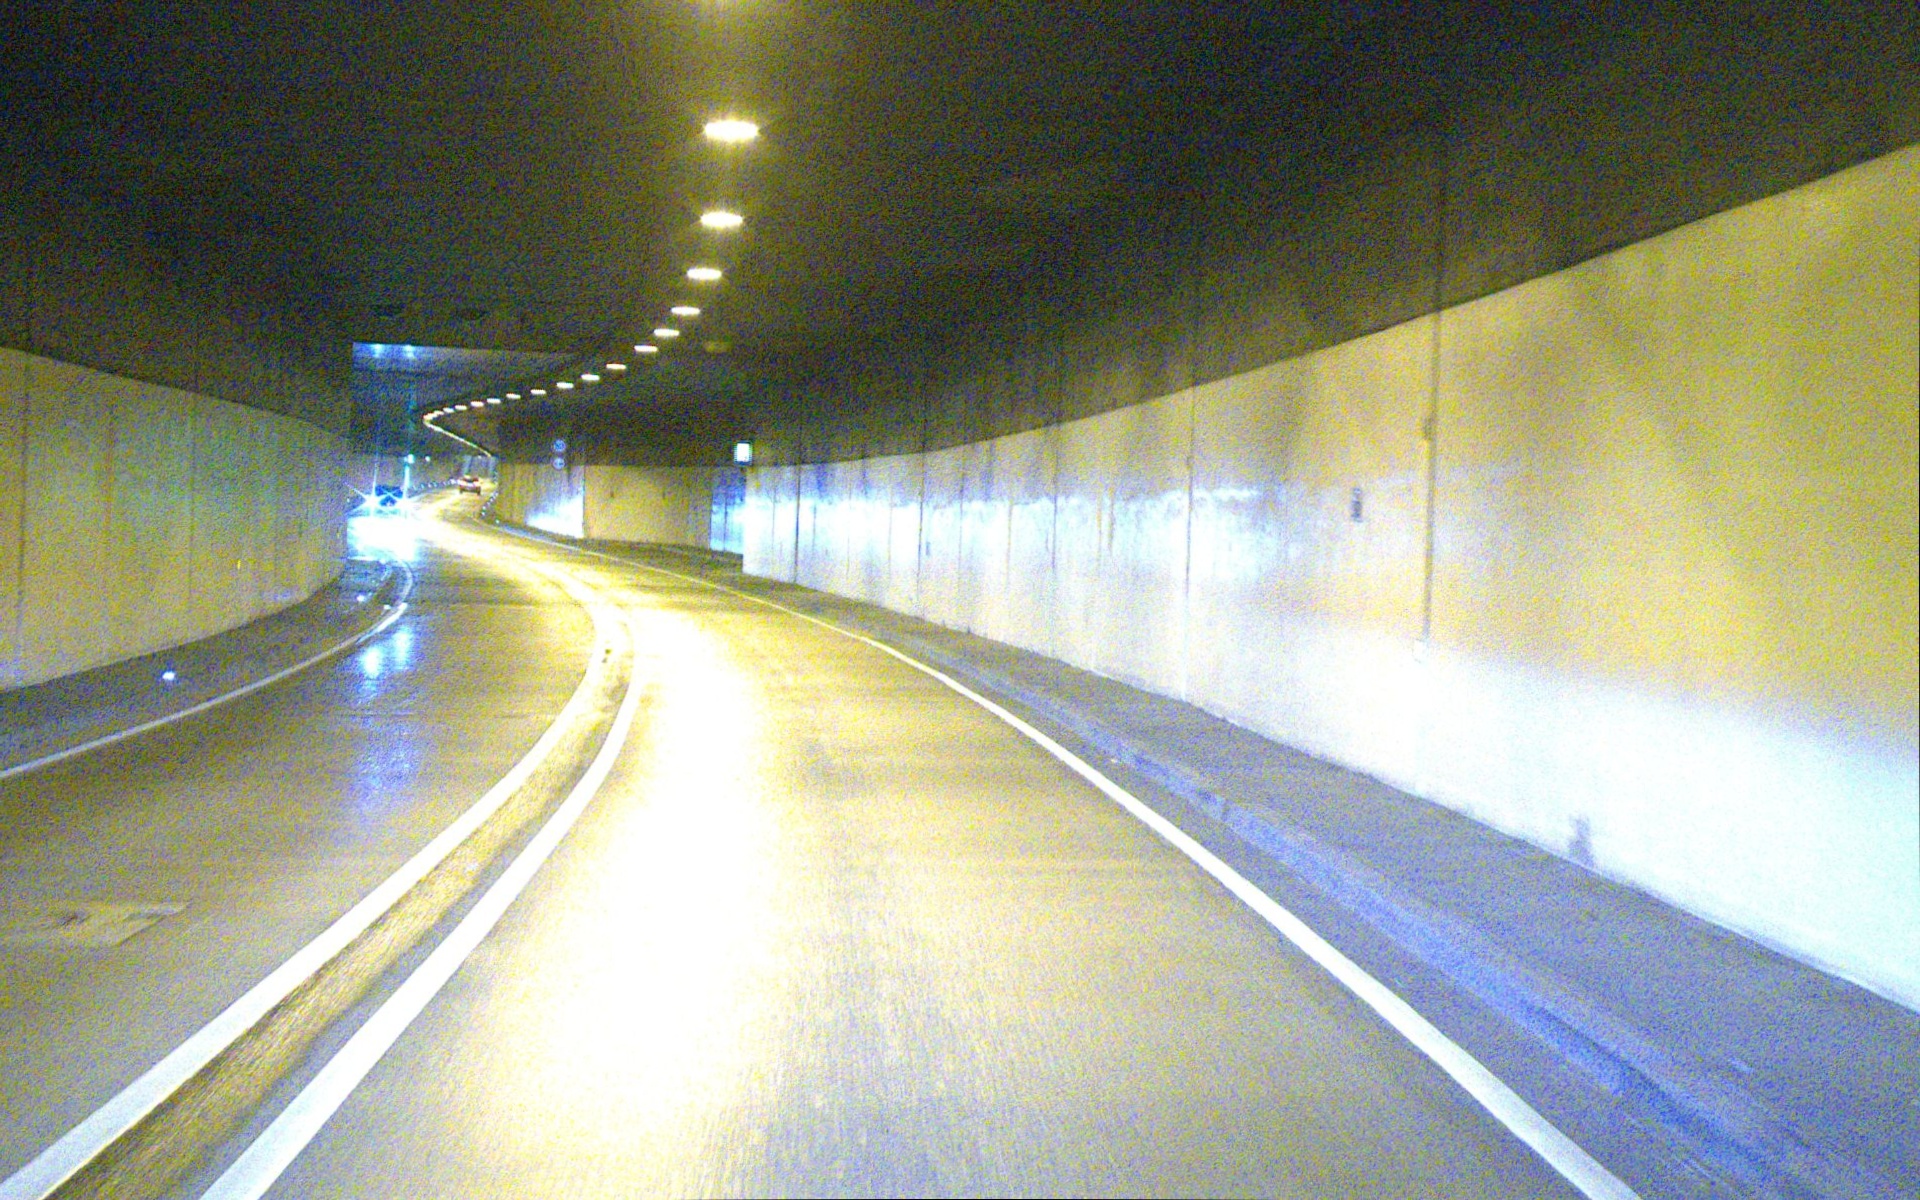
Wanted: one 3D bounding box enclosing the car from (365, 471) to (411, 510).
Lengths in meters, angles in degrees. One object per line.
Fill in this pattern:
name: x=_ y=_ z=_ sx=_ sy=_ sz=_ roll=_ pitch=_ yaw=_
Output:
car: x=-26.043 y=-4.988 z=156.412 sx=1.993 sy=1.590 sz=4.001 roll=2 pitch=0 yaw=-10
